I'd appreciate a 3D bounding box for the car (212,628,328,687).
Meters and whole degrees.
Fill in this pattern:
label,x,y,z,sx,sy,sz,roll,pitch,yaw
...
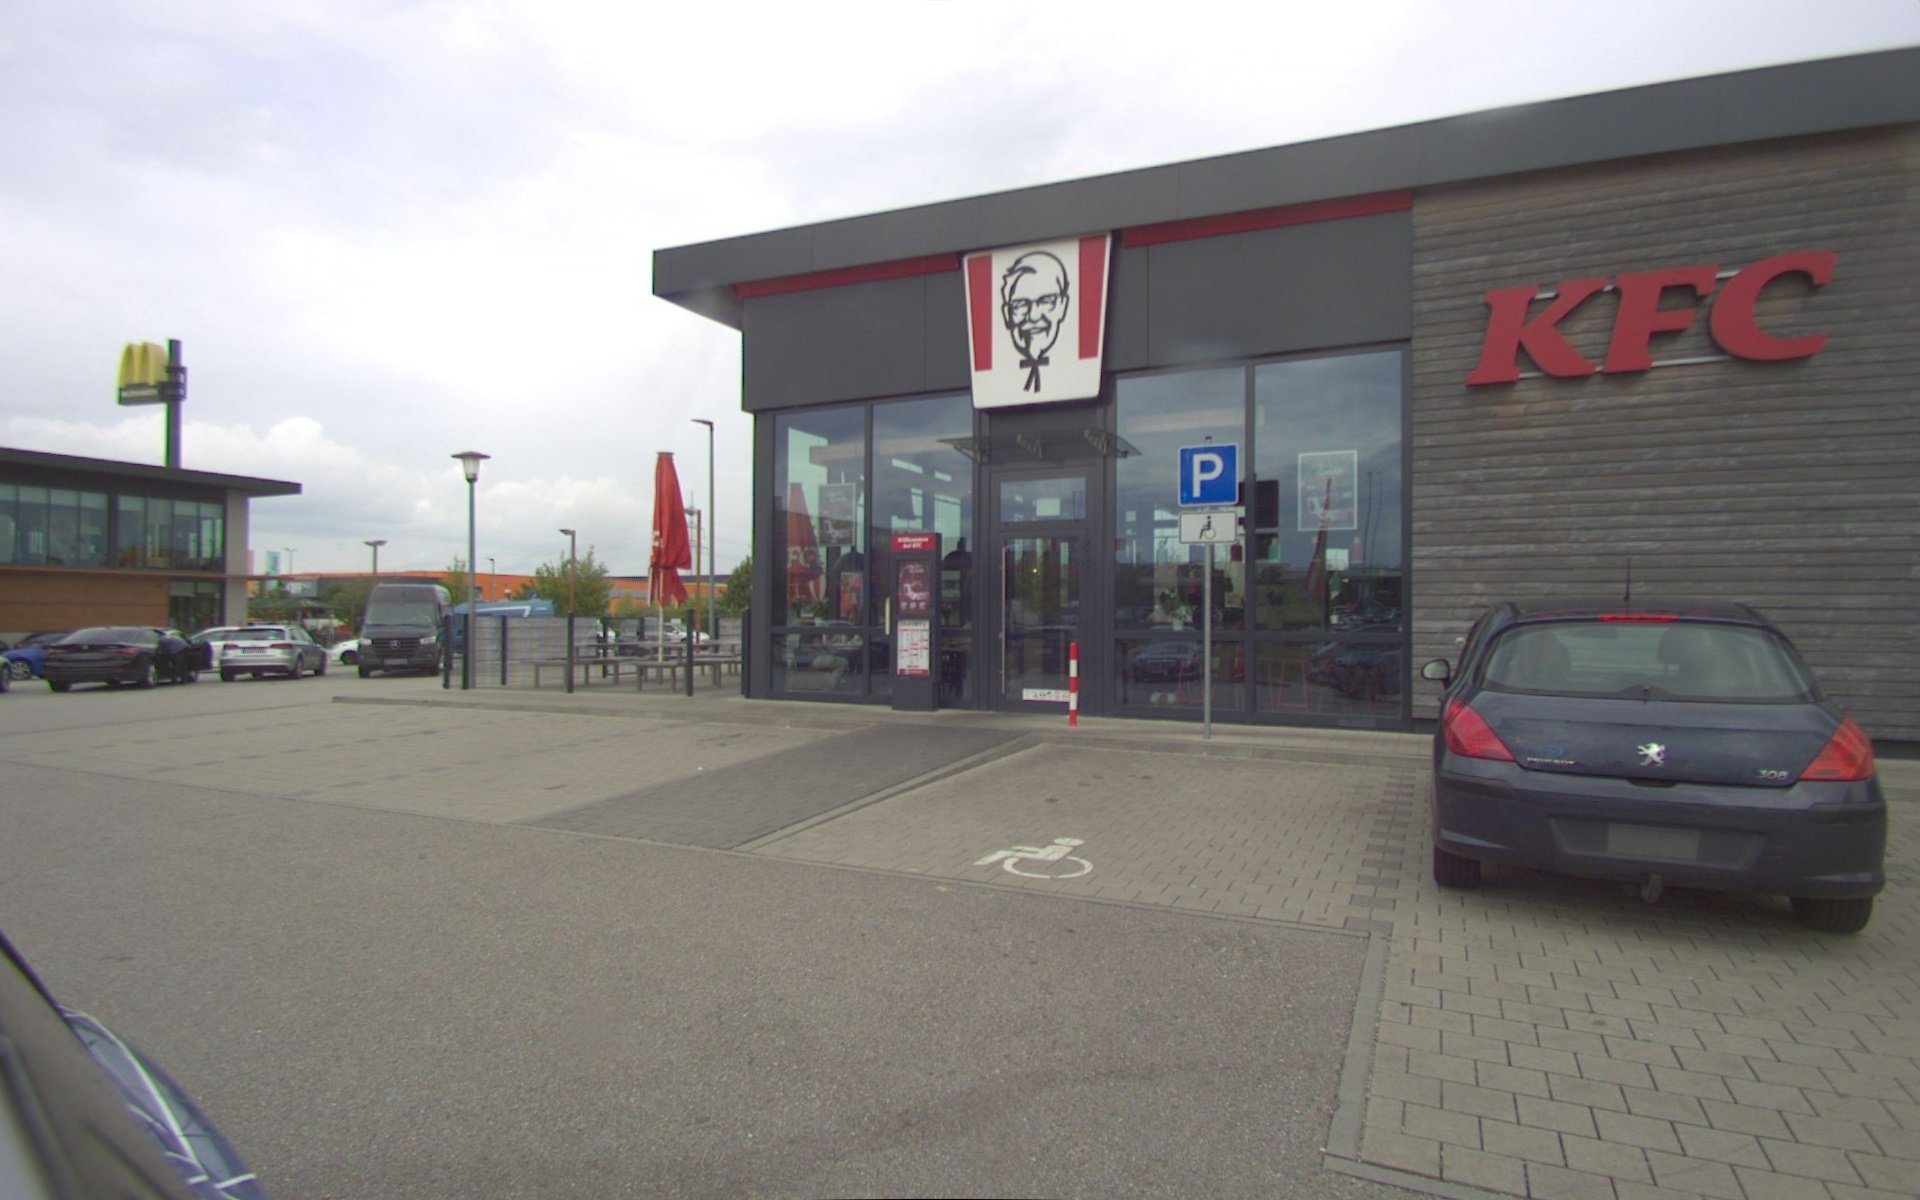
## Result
label,x,y,z,sx,sy,sz,roll,pitch,yaw
car,-18.649,1.529,27.534,1.658,1.462,4.012,0,-2,-20

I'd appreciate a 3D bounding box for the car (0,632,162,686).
label,x,y,z,sx,sy,sz,roll,pitch,yaw
car,-26.646,1.760,30.264,3.931,1.521,1.775,2,-3,-19

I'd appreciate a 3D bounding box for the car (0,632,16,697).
label,x,y,z,sx,sy,sz,roll,pitch,yaw
car,-21.227,1.361,20.508,1.723,1.423,4.474,0,-2,-25

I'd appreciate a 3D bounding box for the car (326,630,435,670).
label,x,y,z,sx,sy,sz,roll,pitch,yaw
car,-22.855,1.949,40.043,3.512,1.465,1.848,0,-2,-22

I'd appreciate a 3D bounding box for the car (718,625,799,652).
label,x,y,z,sx,sy,sz,roll,pitch,yaw
car,-11.614,2.208,58.326,4.435,1.470,1.816,-1,-1,28

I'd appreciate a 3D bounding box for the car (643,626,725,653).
label,x,y,z,sx,sy,sz,roll,pitch,yaw
car,-16.510,2.326,60.559,4.451,1.565,2.056,-1,-2,24

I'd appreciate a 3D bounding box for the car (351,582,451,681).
label,x,y,z,sx,sy,sz,roll,pitch,yaw
car,-16.446,0.953,30.093,2.037,2.573,7.035,0,-2,-24

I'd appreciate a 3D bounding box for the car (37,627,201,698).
label,x,y,z,sx,sy,sz,roll,pitch,yaw
car,-19.630,1.418,23.856,1.658,1.474,4.421,0,-2,-22

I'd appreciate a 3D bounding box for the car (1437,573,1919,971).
label,x,y,z,sx,sy,sz,roll,pitch,yaw
car,3.819,0.650,5.905,1.750,1.498,3.904,-2,0,27

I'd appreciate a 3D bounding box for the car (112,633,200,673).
label,x,y,z,sx,sy,sz,roll,pitch,yaw
car,-34.724,2.250,43.831,1.759,1.498,4.013,2,-1,-20

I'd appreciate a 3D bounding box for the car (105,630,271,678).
label,x,y,z,sx,sy,sz,roll,pitch,yaw
car,-25.430,1.788,33.532,4.040,1.478,1.786,0,-4,-24

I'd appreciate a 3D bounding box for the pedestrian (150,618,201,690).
label,x,y,z,sx,sy,sz,roll,pitch,yaw
pedestrian,-18.881,1.298,24.383,0.736,1.690,0.845,1,-3,-23

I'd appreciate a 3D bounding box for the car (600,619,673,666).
label,x,y,z,sx,sy,sz,roll,pitch,yaw
car,-12.836,1.672,39.958,1.965,1.741,4.912,1,-3,-26

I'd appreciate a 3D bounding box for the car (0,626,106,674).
label,x,y,z,sx,sy,sz,roll,pitch,yaw
car,-35.864,1.947,40.158,1.865,1.674,4.273,2,-1,-24

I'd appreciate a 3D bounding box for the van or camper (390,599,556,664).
label,x,y,z,sx,sy,sz,roll,pitch,yaw
van or camper,-21.813,1.401,45.680,6.462,2.721,2.178,-1,-2,-16
